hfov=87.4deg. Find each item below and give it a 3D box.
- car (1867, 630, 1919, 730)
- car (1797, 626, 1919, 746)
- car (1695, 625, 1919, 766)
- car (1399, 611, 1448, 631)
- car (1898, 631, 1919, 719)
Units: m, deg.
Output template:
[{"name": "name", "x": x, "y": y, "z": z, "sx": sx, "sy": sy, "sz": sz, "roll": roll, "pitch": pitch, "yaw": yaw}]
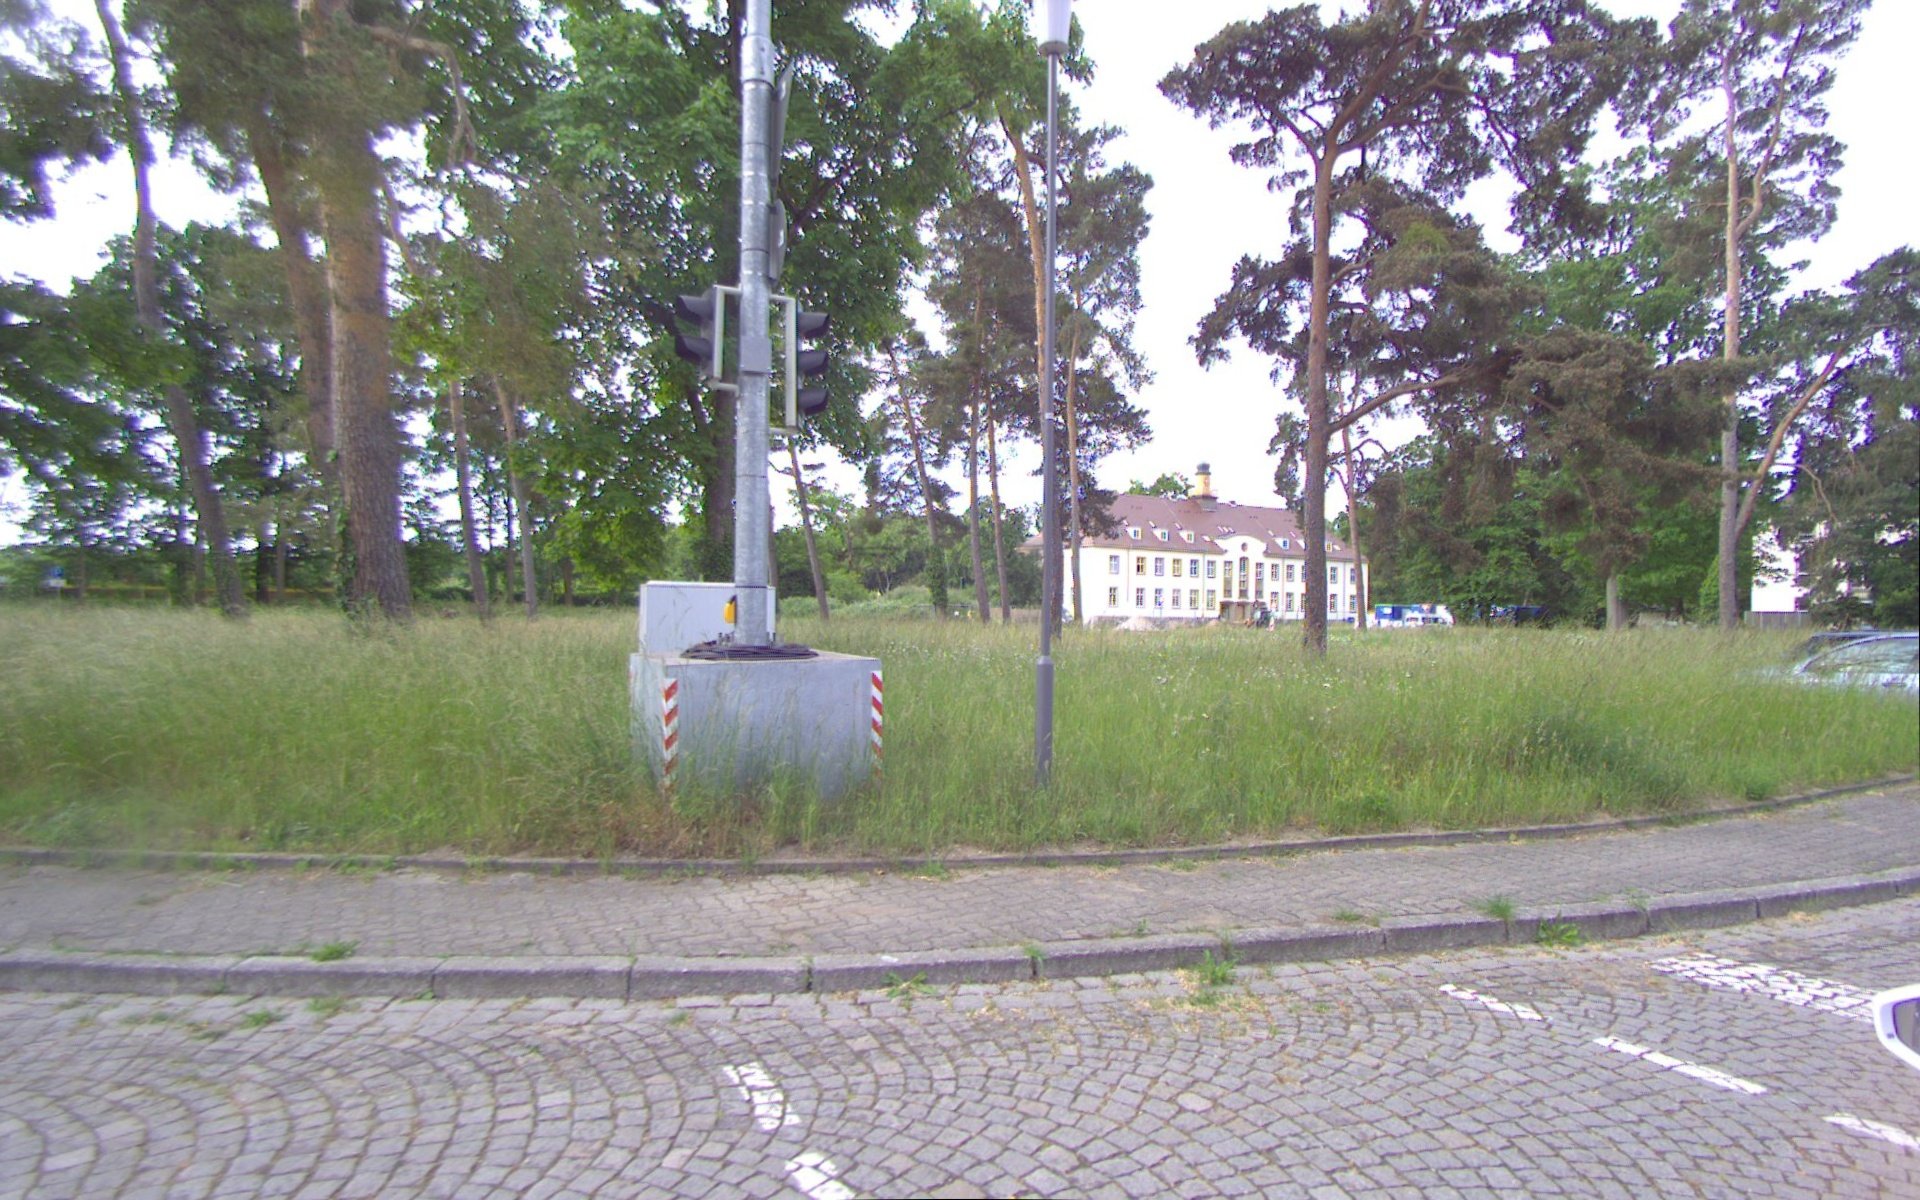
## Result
[{"name": "car", "x": 16.392, "y": 1.247, "z": 14.648, "sx": 1.914, "sy": 1.527, "sz": 4.351, "roll": 1, "pitch": -1, "yaw": -31}, {"name": "car", "x": 14.047, "y": 1.181, "z": 13.287, "sx": 1.915, "sy": 1.568, "sz": 4.225, "roll": 1, "pitch": -1, "yaw": -33}, {"name": "car", "x": 11.594, "y": 1.129, "z": 12.148, "sx": 1.883, "sy": 1.563, "sz": 3.967, "roll": 1, "pitch": -1, "yaw": -30}, {"name": "car", "x": 49.520, "y": 2.274, "z": 107.282, "sx": 5.164, "sy": 2.040, "sz": 1.986, "roll": 2, "pitch": -1, "yaw": -28}, {"name": "car", "x": 18.148, "y": 1.306, "z": 16.159, "sx": 1.843, "sy": 1.496, "sz": 4.146, "roll": 1, "pitch": -1, "yaw": -30}]
